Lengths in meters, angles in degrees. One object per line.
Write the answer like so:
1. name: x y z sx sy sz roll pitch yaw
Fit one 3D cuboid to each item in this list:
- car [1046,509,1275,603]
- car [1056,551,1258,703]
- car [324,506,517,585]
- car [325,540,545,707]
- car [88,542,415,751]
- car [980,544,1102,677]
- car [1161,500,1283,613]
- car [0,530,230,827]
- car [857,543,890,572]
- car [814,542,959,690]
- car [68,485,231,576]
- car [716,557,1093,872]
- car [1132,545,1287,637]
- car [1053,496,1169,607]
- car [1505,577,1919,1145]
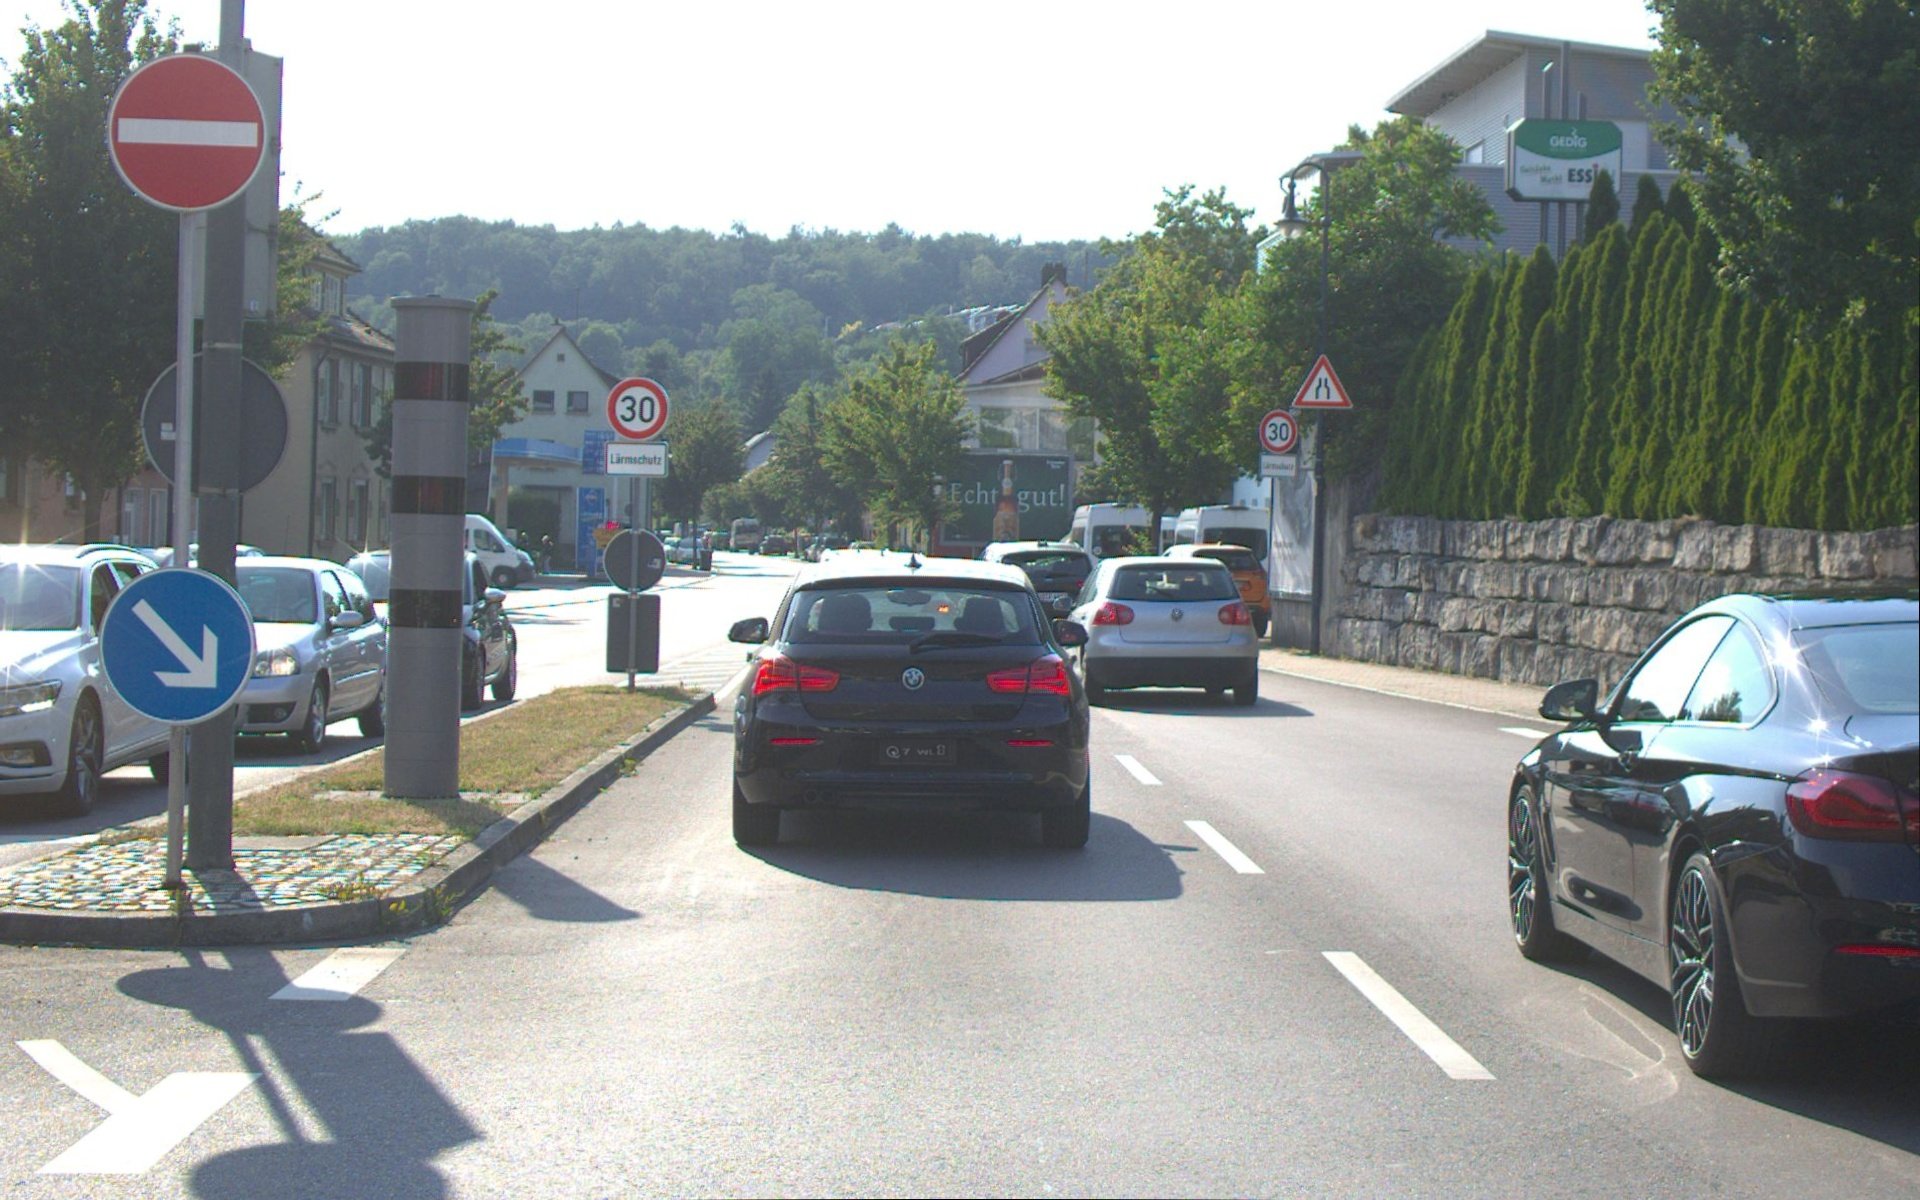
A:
1. car: 5.497 -1.221 94.860 6.042 2.507 2.044 1 1 -5
2. car: 1.943 0.236 34.769 1.753 1.409 3.422 1 1 -1
3. car: -18.231 -1.853 116.371 6.158 2.436 2.250 2 1 -2
4. car: -4.932 0.179 32.660 1.532 1.457 3.506 1 1 0
5. car: -5.163 0.315 25.465 1.589 1.422 3.578 1 0 1
6. car: 1.117 0.116 48.717 1.603 1.761 3.411 1 1 0
7. car: 6.574 -1.134 87.037 2.111 2.712 6.444 1 1 -4
8. car: -5.569 0.351 19.765 1.835 1.483 4.567 1 1 -1
9. car: -4.638 -2.279 183.313 1.596 1.480 3.475 2 1 -4
10. car: -0.865 0.145 40.127 1.591 1.595 3.894 1 1 -1
11. car: -14.561 -1.234 61.959 1.666 1.482 4.000 4 1 4
12. car: -0.303 0.518 17.958 1.771 1.451 3.516 0 1 -1
13. car: 4.665 -0.201 64.813 1.834 1.643 4.540 1 1 -10
14. car: 3.772 -1.246 86.854 2.149 2.671 6.604 1 1 -4
15. car: 2.920 0.652 10.860 1.699 1.364 4.262 0 1 0
